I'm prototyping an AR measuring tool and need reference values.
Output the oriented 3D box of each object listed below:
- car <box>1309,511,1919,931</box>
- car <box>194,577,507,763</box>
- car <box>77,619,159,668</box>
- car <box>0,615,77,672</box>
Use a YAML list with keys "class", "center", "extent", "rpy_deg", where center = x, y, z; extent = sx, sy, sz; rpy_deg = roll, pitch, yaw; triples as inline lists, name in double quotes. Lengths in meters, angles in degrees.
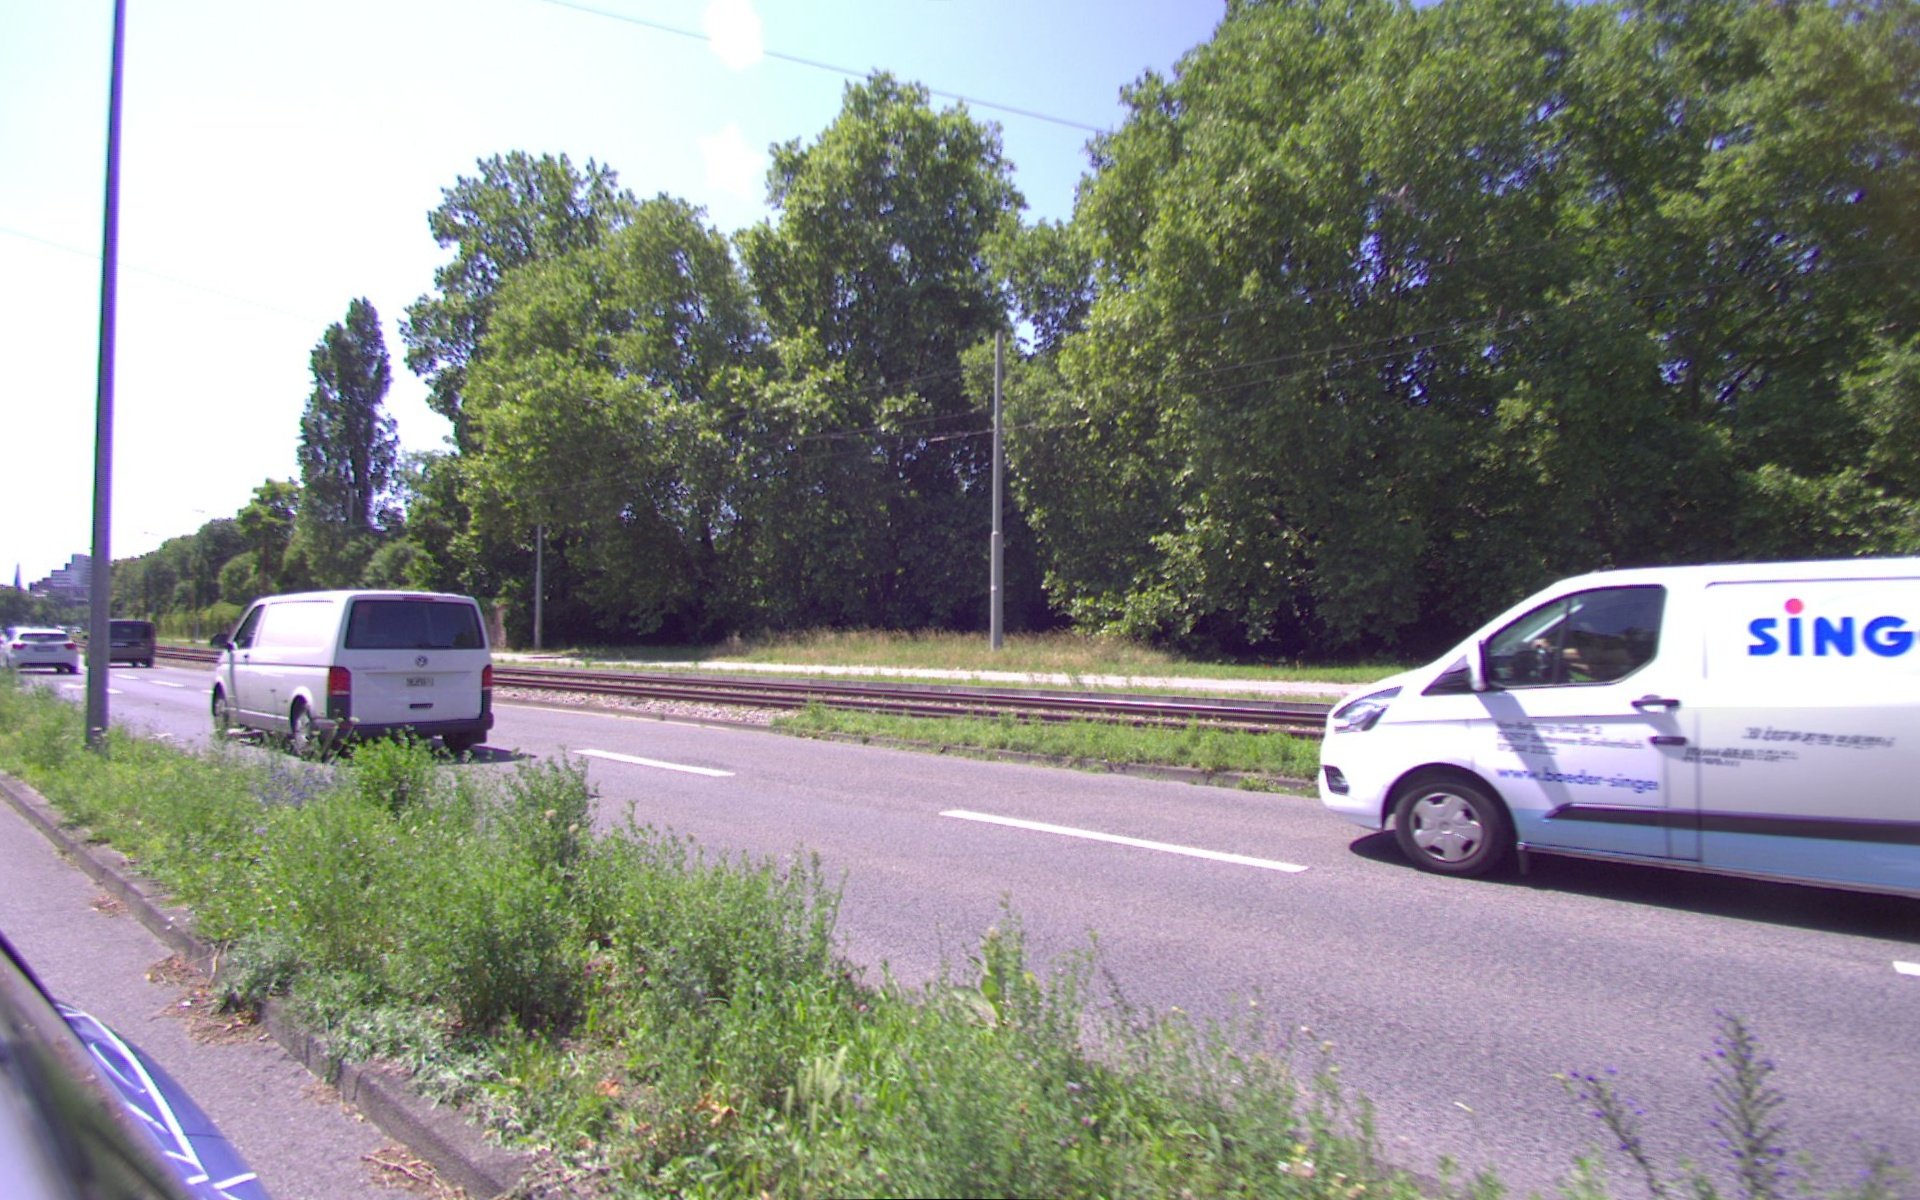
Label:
- class: "car"
  center: [4.905, 0.633, 5.975]
  extent: [5.025, 2.029, 1.973]
  rpy_deg: [-2, -4, 40]
- class: "car"
  center: [-8.017, 0.809, 13.017]
  extent: [5.564, 1.921, 1.810]
  rpy_deg: [-1, -3, 41]
- class: "car"
  center: [-33.465, 1.709, 40.173]
  extent: [4.613, 1.815, 1.810]
  rpy_deg: [-1, -4, 42]
- class: "car"
  center: [-30.543, 1.421, 33.314]
  extent: [4.039, 1.752, 1.809]
  rpy_deg: [-2, -4, 44]
